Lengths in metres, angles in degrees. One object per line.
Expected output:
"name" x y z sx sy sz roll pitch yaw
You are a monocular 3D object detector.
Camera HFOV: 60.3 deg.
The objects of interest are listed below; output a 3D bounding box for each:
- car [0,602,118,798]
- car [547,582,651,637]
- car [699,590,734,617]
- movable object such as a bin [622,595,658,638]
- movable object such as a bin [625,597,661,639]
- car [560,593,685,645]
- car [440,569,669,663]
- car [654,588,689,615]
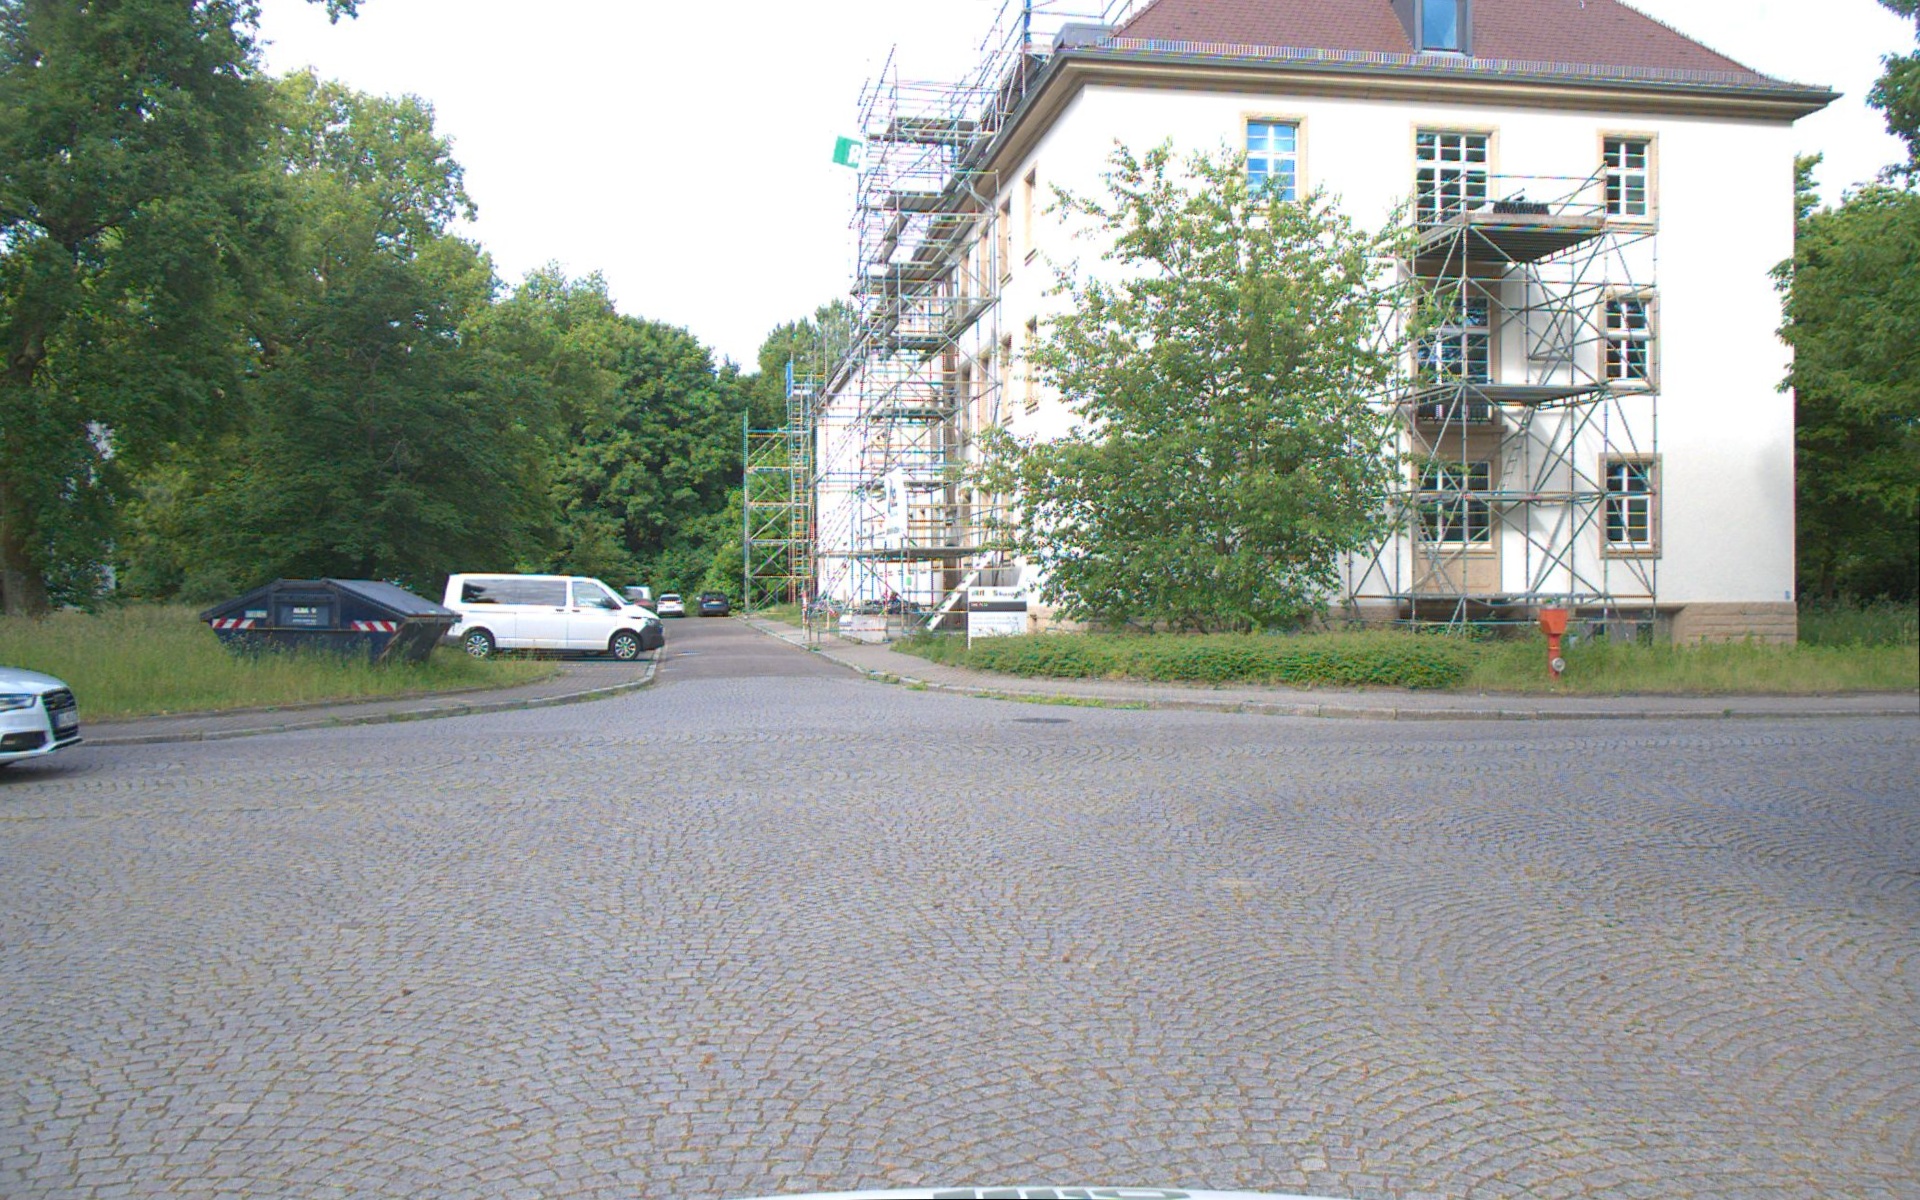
"car" -9.501 0.794 13.161 4.606 1.462 1.850 -1 1 -11
"car" -14.460 0.393 66.208 3.919 2.049 1.914 2 -1 -14
"car" -15.518 0.240 105.528 2.024 1.621 3.993 2 -1 -7
"movable object such as a bin" -11.116 0.587 57.501 1.162 1.432 0.973 2 -1 -9
"movable object such as a bin" -11.286 0.638 58.865 1.162 1.432 0.973 2 -1 -9
"car" -10.595 0.607 52.077 3.555 1.507 1.820 2 -1 -2
"car" -9.527 0.392 39.275 5.107 2.096 2.182 1 -1 -11
"car" -18.271 0.124 104.581 1.966 1.575 3.945 2 -1 -13
